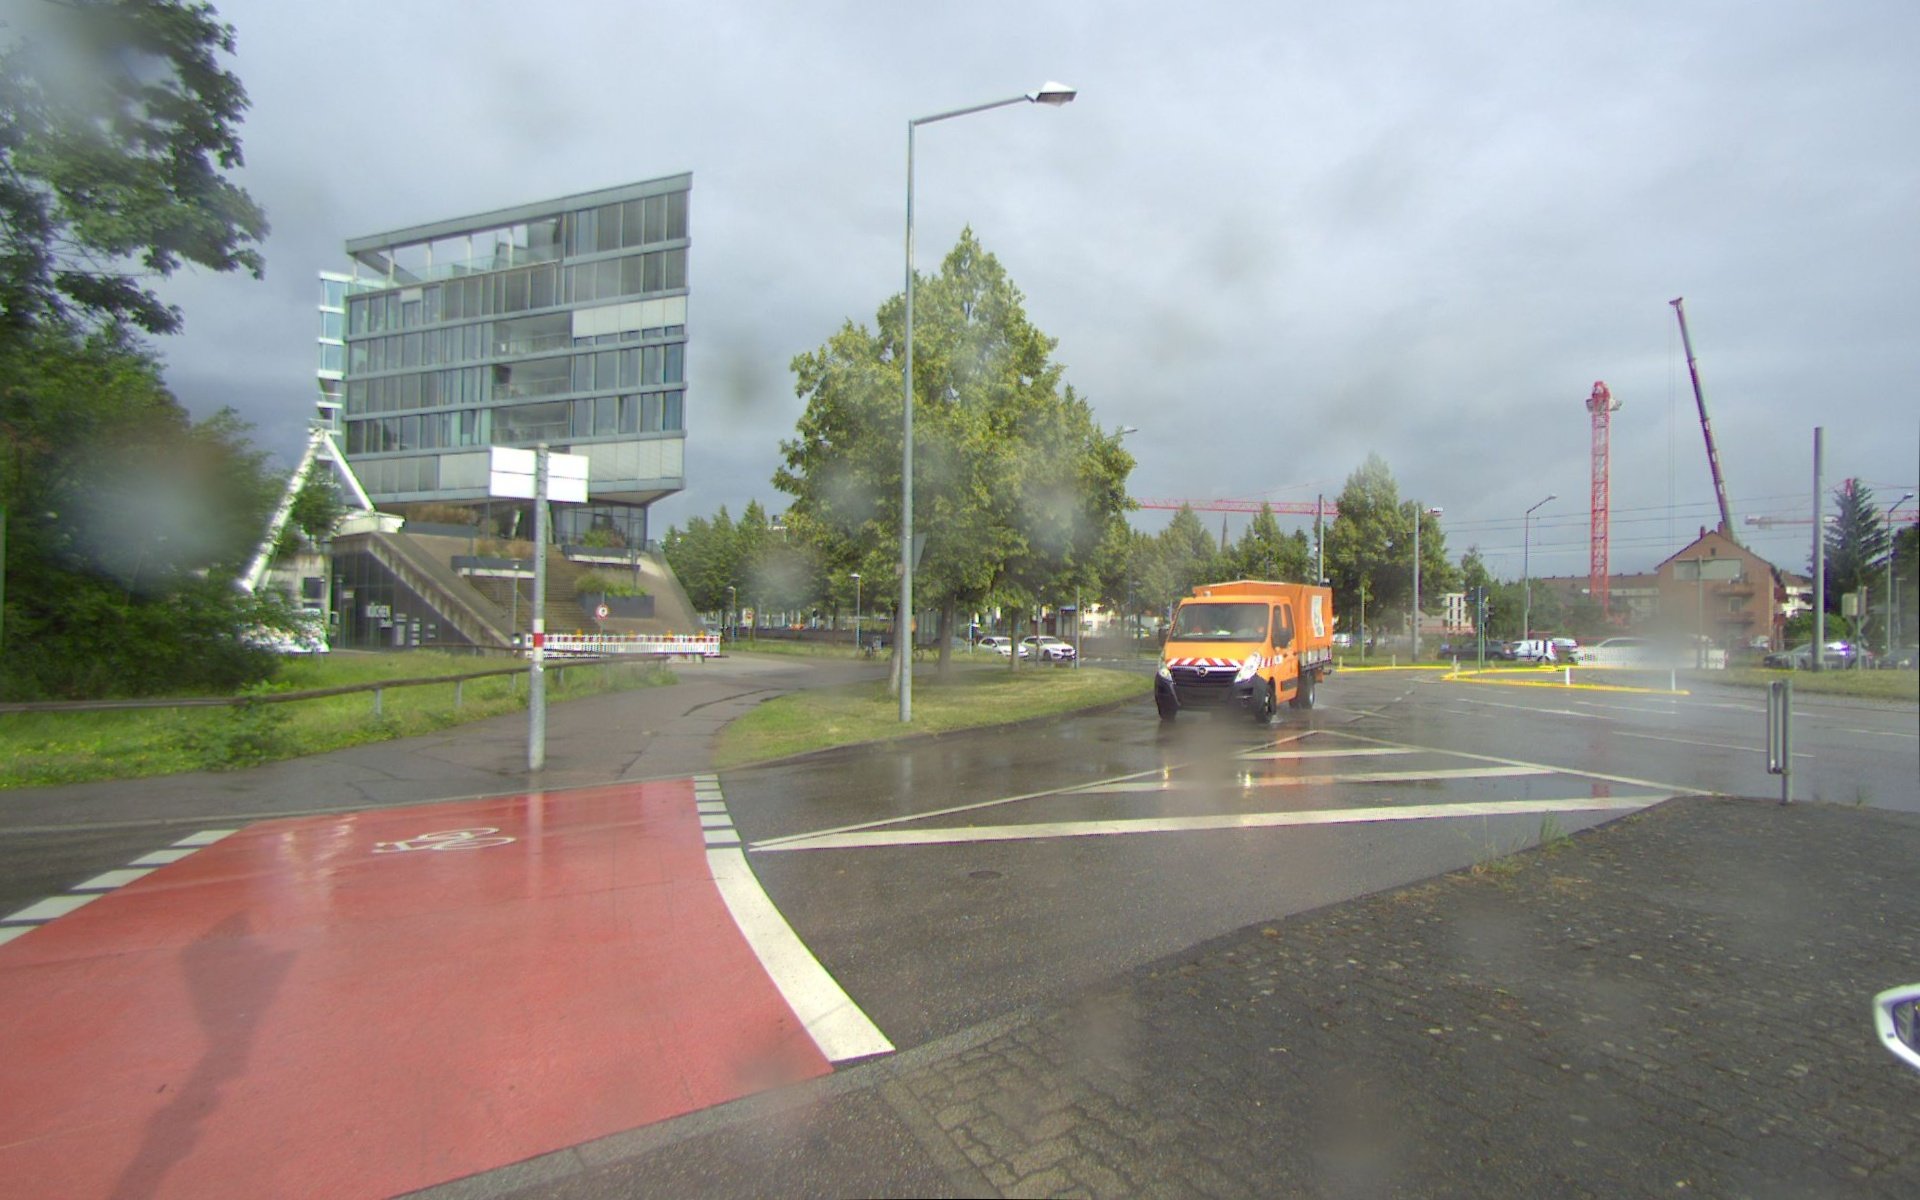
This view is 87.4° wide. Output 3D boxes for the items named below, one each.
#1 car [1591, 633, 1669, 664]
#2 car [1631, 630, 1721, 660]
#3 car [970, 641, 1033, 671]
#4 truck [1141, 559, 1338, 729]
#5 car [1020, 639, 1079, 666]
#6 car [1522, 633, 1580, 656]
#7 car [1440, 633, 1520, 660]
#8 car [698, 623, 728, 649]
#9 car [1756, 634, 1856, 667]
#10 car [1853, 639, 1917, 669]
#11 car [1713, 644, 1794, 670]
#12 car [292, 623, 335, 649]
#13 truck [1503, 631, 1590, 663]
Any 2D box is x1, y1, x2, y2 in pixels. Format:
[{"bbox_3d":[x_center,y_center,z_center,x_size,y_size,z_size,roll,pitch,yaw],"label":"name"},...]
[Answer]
[{"bbox_3d":[36.435,2.624,54.707,3.438,1.530,1.497,0,-1,31],"label":"car"},{"bbox_3d":[61.652,3.847,86.683,2.012,2.113,6.237,2,0,-20],"label":"car"},{"bbox_3d":[2.408,3.279,59.356,1.842,1.694,4.442,1,-3,-26],"label":"car"},{"bbox_3d":[5.815,0.815,20.003,2.417,2.762,6.937,0,-2,27],"label":"truck"},{"bbox_3d":[5.344,3.129,60.599,1.705,1.528,3.876,1,-2,-28],"label":"car"},{"bbox_3d":[51.464,3.836,87.506,1.836,1.723,3.969,3,0,-29],"label":"car"},{"bbox_3d":[30.506,2.706,58.934,3.935,1.537,1.797,-1,-2,36],"label":"car"},{"bbox_3d":[-23.622,3.472,95.909,1.843,2.390,4.440,1,-3,-27],"label":"car"},{"bbox_3d":[43.661,2.603,51.923,3.603,1.581,1.575,0,-1,15],"label":"car"},{"bbox_3d":[52.316,3.050,56.817,3.958,1.606,1.781,2,-1,-33],"label":"car"},{"bbox_3d":[54.642,3.917,69.226,3.919,1.706,2.001,1,-1,4],"label":"car"},{"bbox_3d":[-44.135,2.458,68.532,1.852,1.694,4.418,2,-4,-41],"label":"car"},{"bbox_3d":[48.580,3.891,83.337,2.361,2.241,6.072,2,0,-20],"label":"truck"}]
